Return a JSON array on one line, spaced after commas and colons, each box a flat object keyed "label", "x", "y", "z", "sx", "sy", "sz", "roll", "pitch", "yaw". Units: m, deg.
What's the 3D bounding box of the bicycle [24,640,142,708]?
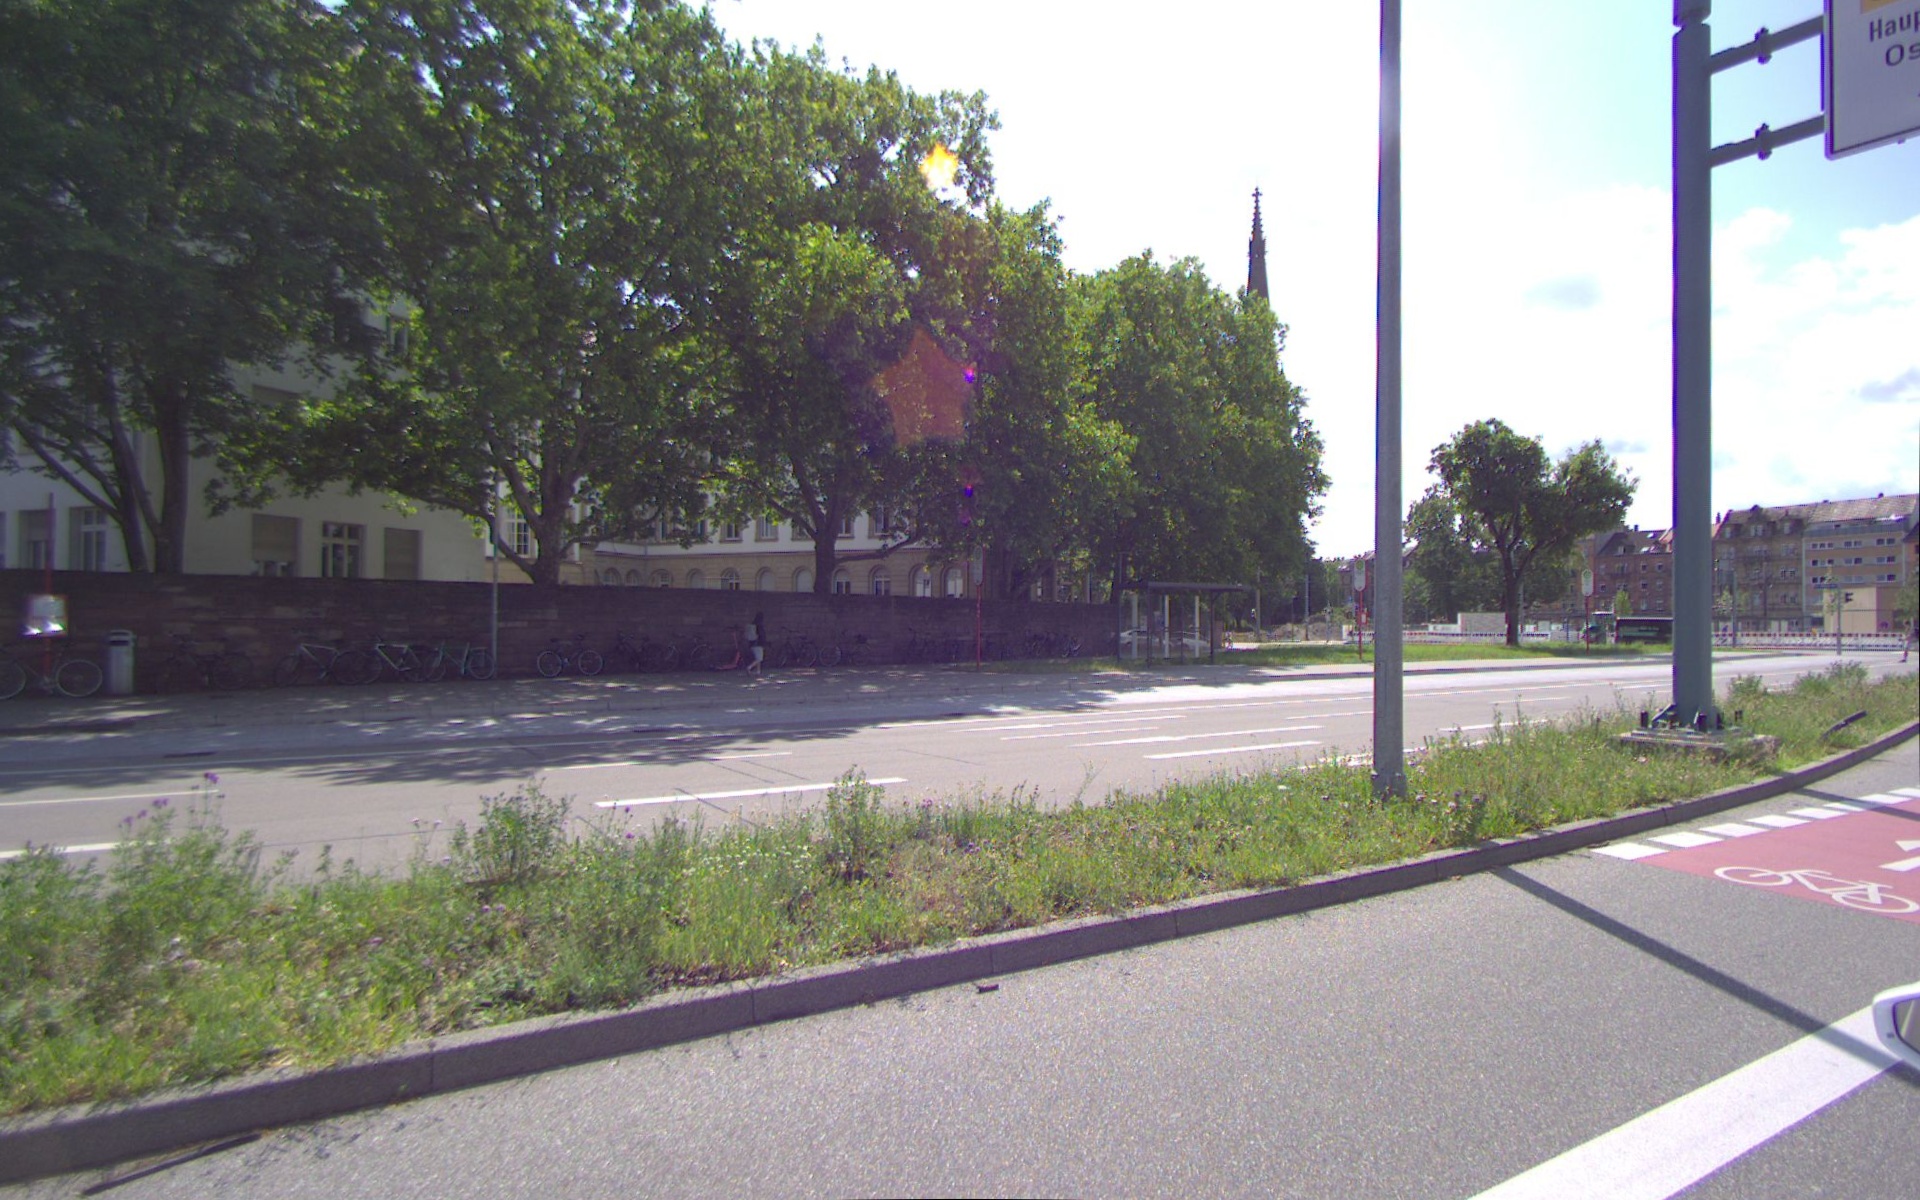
[{"label": "bicycle", "x": -15.826, "y": 1.306, "z": 18.148, "sx": 1.583, "sy": 1.158, "sz": 0.427, "roll": 1, "pitch": -1, "yaw": -44}]

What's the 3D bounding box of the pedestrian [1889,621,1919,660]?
[{"label": "pedestrian", "x": 38.425, "y": 1.626, "z": 40.770, "sx": 0.858, "sy": 1.580, "sz": 0.555, "roll": 0, "pitch": -1, "yaw": 18}]

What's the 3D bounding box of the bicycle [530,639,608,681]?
[{"label": "bicycle", "x": -9.365, "y": 1.423, "z": 24.092, "sx": 1.654, "sy": 0.962, "sz": 0.538, "roll": 1, "pitch": -1, "yaw": -44}]

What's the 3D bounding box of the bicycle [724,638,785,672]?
[{"label": "bicycle", "x": -5.775, "y": 1.541, "z": 28.253, "sx": 1.654, "sy": 0.914, "sz": 0.538, "roll": 1, "pitch": -1, "yaw": -44}]

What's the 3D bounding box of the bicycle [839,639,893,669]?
[{"label": "bicycle", "x": -2.923, "y": 1.669, "z": 31.323, "sx": 1.649, "sy": 0.914, "sz": 0.498, "roll": 1, "pitch": -1, "yaw": -36}]

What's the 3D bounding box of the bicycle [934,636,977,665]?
[{"label": "bicycle", "x": -0.157, "y": 1.744, "z": 35.071, "sx": 0.537, "sy": 0.964, "sz": 1.657, "roll": 0, "pitch": -1, "yaw": 41}]

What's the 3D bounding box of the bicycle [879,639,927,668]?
[{"label": "bicycle", "x": -1.866, "y": 1.734, "z": 32.916, "sx": 0.538, "sy": 0.914, "sz": 1.656, "roll": -1, "pitch": -1, "yaw": 43}]

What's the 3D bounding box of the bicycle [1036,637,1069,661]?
[{"label": "bicycle", "x": 3.755, "y": 1.978, "z": 40.616, "sx": 0.537, "sy": 0.914, "sz": 1.659, "roll": 0, "pitch": -1, "yaw": 37}]

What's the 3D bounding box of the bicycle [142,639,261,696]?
[{"label": "bicycle", "x": -14.565, "y": 1.279, "z": 19.316, "sx": 1.787, "sy": 1.021, "sz": 0.476, "roll": 1, "pitch": -1, "yaw": -41}]

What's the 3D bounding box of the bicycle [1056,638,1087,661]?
[{"label": "bicycle", "x": 4.693, "y": 2.065, "z": 42.133, "sx": 0.446, "sy": 0.914, "sz": 1.787, "roll": 0, "pitch": -1, "yaw": 37}]

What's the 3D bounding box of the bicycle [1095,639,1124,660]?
[{"label": "bicycle", "x": 6.708, "y": 2.216, "z": 45.059, "sx": 0.537, "sy": 0.914, "sz": 1.659, "roll": 0, "pitch": -1, "yaw": 37}]

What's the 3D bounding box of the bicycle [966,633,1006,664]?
[{"label": "bicycle", "x": 0.958, "y": 1.745, "z": 36.337, "sx": 0.537, "sy": 1.065, "sz": 1.615, "roll": 0, "pitch": -1, "yaw": 41}]

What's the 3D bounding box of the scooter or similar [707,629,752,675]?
[{"label": "scooter or similar", "x": -6.164, "y": 1.381, "z": 26.876, "sx": 0.426, "sy": 1.199, "sz": 1.188, "roll": -1, "pitch": -1, "yaw": 37}]

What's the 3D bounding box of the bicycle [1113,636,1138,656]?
[{"label": "bicycle", "x": 7.730, "y": 2.134, "z": 46.879, "sx": 0.536, "sy": 0.914, "sz": 1.661, "roll": 0, "pitch": -1, "yaw": 33}]

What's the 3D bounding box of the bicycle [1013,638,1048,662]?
[{"label": "bicycle", "x": 2.775, "y": 1.945, "z": 39.235, "sx": 0.537, "sy": 0.914, "sz": 1.659, "roll": 0, "pitch": -1, "yaw": 37}]

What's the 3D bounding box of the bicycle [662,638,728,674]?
[{"label": "bicycle", "x": -7.087, "y": 1.486, "z": 26.875, "sx": 1.654, "sy": 0.914, "sz": 0.538, "roll": 2, "pitch": -2, "yaw": -44}]

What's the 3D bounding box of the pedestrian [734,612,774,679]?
[{"label": "pedestrian", "x": -5.177, "y": 1.136, "z": 25.299, "sx": 0.607, "sy": 1.638, "sz": 0.754, "roll": 1, "pitch": 0, "yaw": 37}]

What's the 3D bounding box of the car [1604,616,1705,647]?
[{"label": "car", "x": 44.292, "y": 1.951, "z": 64.184, "sx": 1.909, "sy": 1.904, "sz": 4.977, "roll": 0, "pitch": -1, "yaw": -34}]

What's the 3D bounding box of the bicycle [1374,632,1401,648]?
[{"label": "bicycle", "x": 35.398, "y": 3.278, "z": 83.201, "sx": 0.599, "sy": 1.307, "sz": 2.048, "roll": 1, "pitch": -1, "yaw": -38}]

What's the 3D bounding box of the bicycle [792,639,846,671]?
[{"label": "bicycle", "x": -4.224, "y": 1.628, "z": 30.136, "sx": 0.538, "sy": 0.914, "sz": 1.656, "roll": -1, "pitch": -1, "yaw": 43}]

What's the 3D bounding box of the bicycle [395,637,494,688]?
[{"label": "bicycle", "x": -11.377, "y": 1.354, "z": 22.207, "sx": 1.883, "sy": 1.061, "sz": 0.538, "roll": 1, "pitch": -1, "yaw": -44}]

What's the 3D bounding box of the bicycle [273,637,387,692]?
[{"label": "bicycle", "x": -12.994, "y": 1.315, "z": 20.765, "sx": 1.936, "sy": 1.061, "sz": 0.538, "roll": 1, "pitch": -1, "yaw": -44}]

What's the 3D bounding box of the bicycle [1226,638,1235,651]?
[{"label": "bicycle", "x": 19.509, "y": 3.207, "z": 72.427, "sx": 0.534, "sy": 0.914, "sz": 1.666, "roll": 0, "pitch": -1, "yaw": 10}]

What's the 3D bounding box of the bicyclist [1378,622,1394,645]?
[{"label": "bicyclist", "x": 35.326, "y": 2.742, "z": 83.290, "sx": 0.588, "sy": 1.869, "sz": 1.110, "roll": 0, "pitch": -1, "yaw": -38}]

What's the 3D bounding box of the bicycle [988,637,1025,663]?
[{"label": "bicycle", "x": 1.759, "y": 1.881, "z": 37.847, "sx": 0.537, "sy": 0.914, "sz": 1.659, "roll": 0, "pitch": -1, "yaw": 37}]
